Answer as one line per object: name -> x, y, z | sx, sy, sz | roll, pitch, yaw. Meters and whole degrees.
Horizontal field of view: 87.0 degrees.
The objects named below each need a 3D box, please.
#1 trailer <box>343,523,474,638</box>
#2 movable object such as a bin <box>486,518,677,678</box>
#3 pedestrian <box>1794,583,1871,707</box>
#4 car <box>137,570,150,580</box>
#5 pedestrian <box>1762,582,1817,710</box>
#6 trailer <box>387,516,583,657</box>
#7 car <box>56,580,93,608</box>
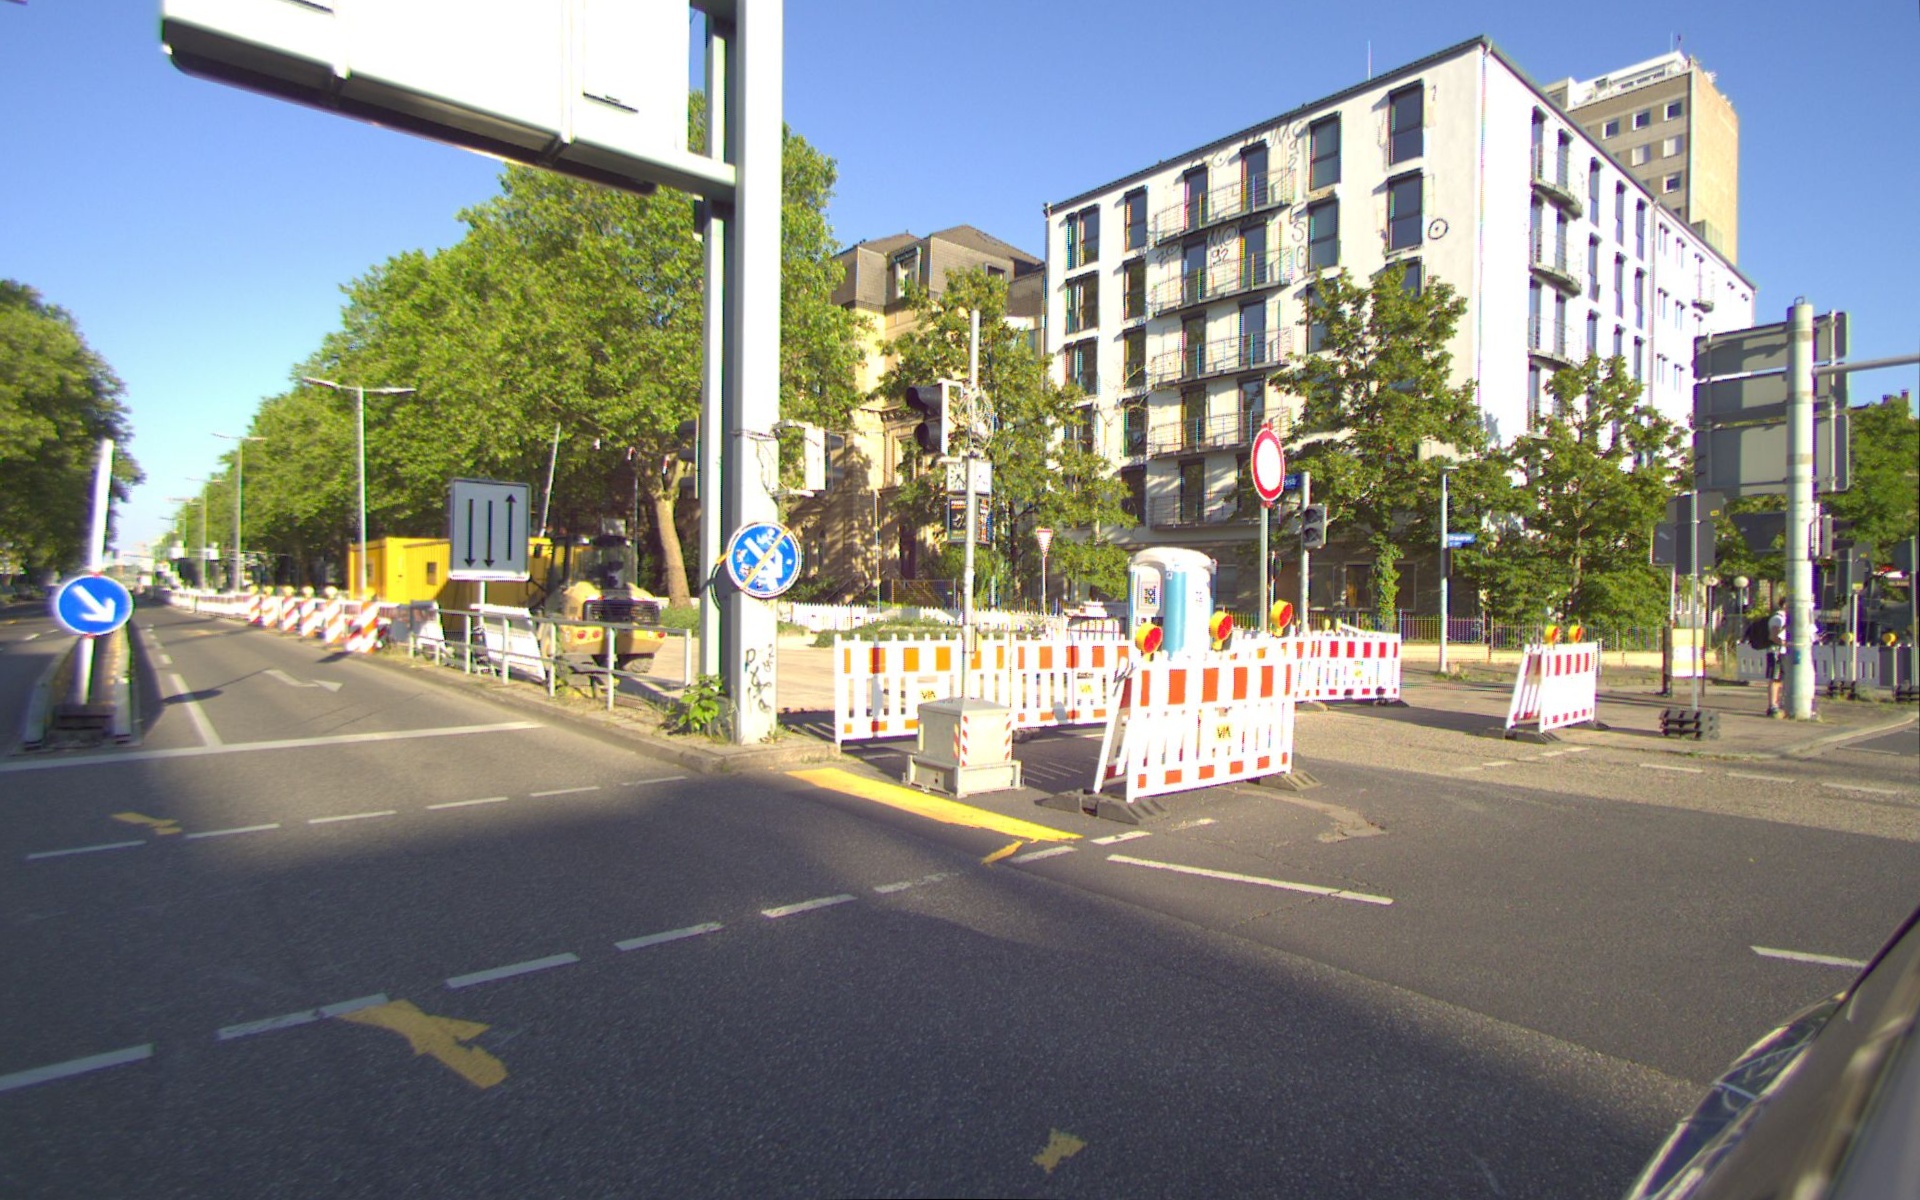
trailer -> -16.430, -0.552, 29.966 | 2.363, 3.054, 6.124 | 1, 0, -39
movable object such as a bin -> -7.365, -0.065, 19.304 | 1.963, 2.626, 5.212 | 1, 0, -38
pedestrian -> 13.634, 0.685, 15.830 | 0.696, 1.901, 0.578 | 1, 0, -3
car -> -146.980, -4.458, 182.219 | 1.740, 1.727, 3.994 | 1, 0, -41
pedestrian -> 12.604, 0.677, 15.388 | 0.494, 1.901, 0.597 | 0, 0, 24
trailer -> -11.350, -0.311, 23.901 | 2.498, 2.904, 6.118 | 1, 0, -42
car -> -57.135, -0.405, 65.355 | 1.740, 1.727, 3.994 | 1, 0, -41
